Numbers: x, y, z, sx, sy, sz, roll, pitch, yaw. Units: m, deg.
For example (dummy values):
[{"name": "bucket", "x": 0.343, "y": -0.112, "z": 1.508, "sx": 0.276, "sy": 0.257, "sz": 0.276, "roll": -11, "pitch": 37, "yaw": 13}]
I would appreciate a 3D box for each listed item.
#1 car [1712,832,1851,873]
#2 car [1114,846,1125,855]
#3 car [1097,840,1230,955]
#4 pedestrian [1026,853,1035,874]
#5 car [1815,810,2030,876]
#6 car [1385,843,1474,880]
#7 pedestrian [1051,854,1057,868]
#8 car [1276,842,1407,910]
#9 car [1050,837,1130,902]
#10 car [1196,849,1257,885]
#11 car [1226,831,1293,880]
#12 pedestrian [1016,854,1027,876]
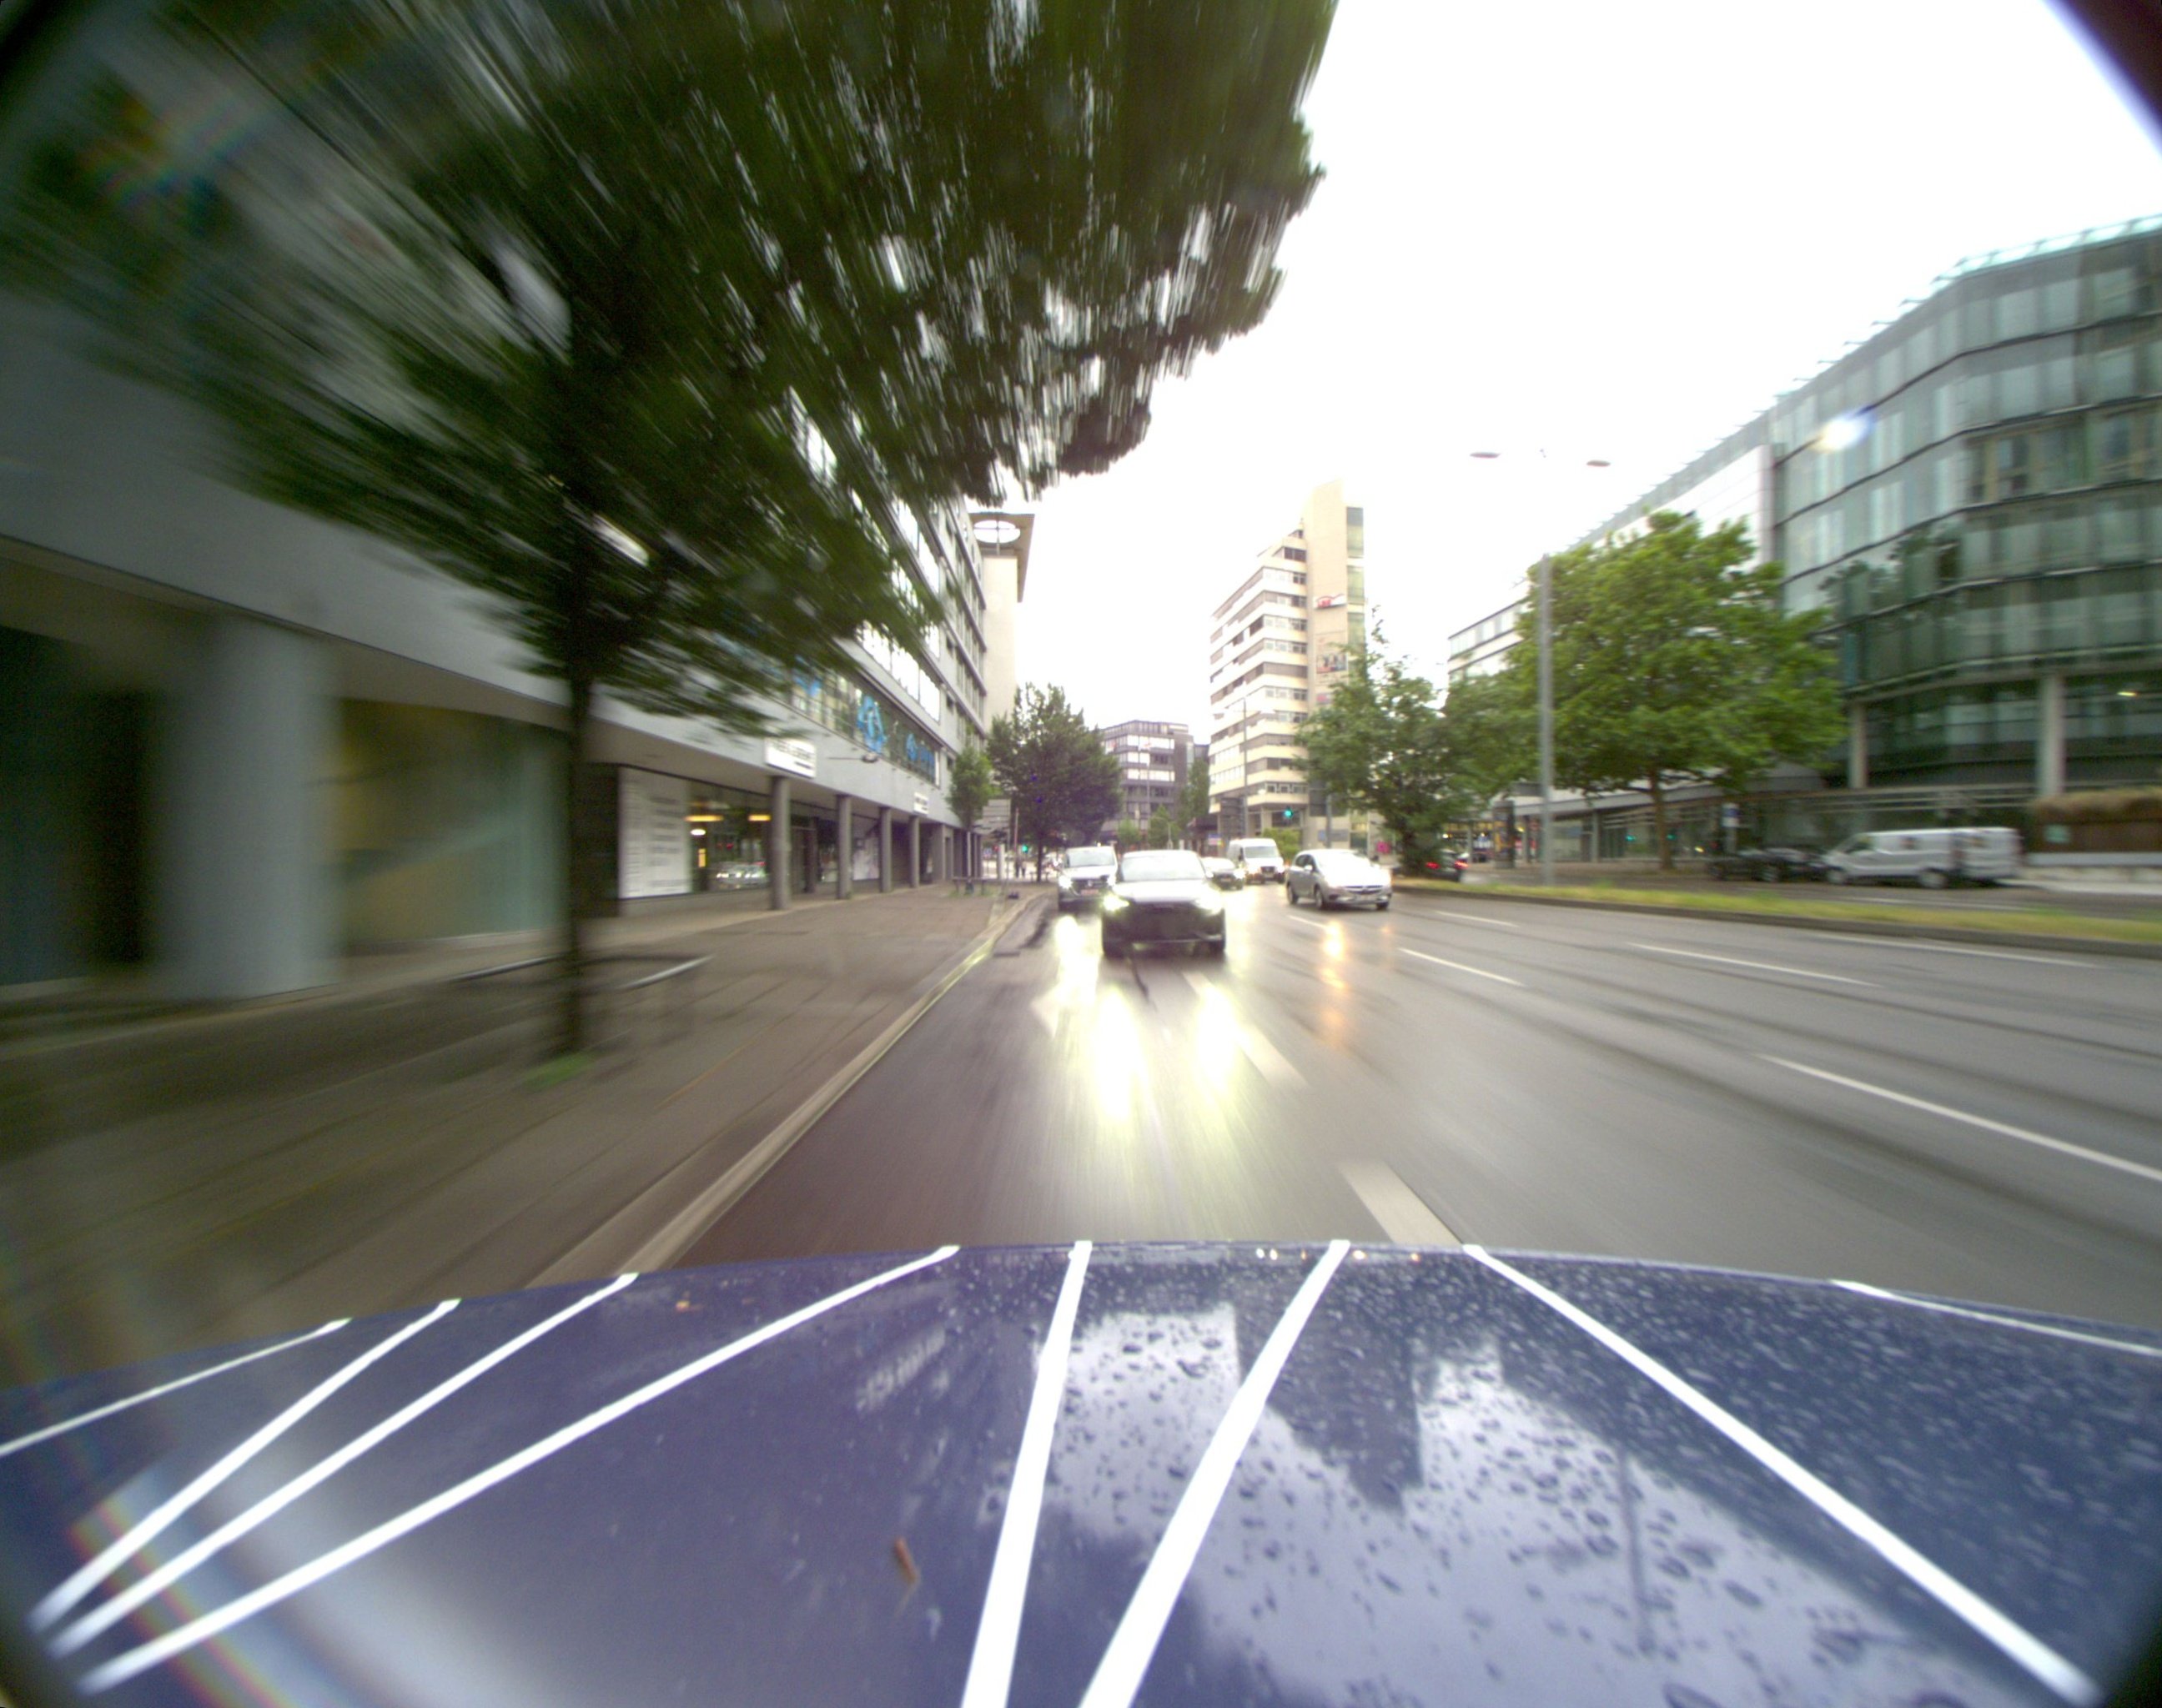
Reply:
[{"name": "car", "x": 28.668, "y": -0.112, "z": 31.320, "sx": 1.802, "sy": 1.520, "sz": 4.285, "roll": -2, "pitch": 1, "yaw": 1}, {"name": "car", "x": 7.218, "y": -0.622, "z": 142.065, "sx": 1.998, "sy": 1.576, "sz": 5.169, "roll": -2, "pitch": 1, "yaw": 2}, {"name": "car", "x": 1.497, "y": 0.582, "z": 12.777, "sx": 1.800, "sy": 1.543, "sz": 4.390, "roll": -2, "pitch": 1, "yaw": 9}, {"name": "pedestrian", "x": -4.363, "y": 0.841, "z": 65.656, "sx": 0.641, "sy": 1.772, "sz": 0.880, "roll": -2, "pitch": 0, "yaw": 1}, {"name": "car", "x": 28.661, "y": -0.387, "z": 26.185, "sx": 1.998, "sy": 2.002, "sz": 4.915, "roll": -2, "pitch": 1, "yaw": 1}, {"name": "car", "x": 16.969, "y": 0.315, "z": 37.269, "sx": 1.830, "sy": 1.623, "sz": 4.872, "roll": -2, "pitch": 1, "yaw": -4}, {"name": "pedestrian", "x": -3.046, "y": 0.798, "z": 85.443, "sx": 0.654, "sy": 1.589, "sz": 1.058, "roll": -2, "pitch": 2, "yaw": -5}, {"name": "car", "x": 6.503, "y": 0.468, "z": 19.482, "sx": 1.774, "sy": 1.470, "sz": 4.125, "roll": -2, "pitch": 1, "yaw": -2}, {"name": "car", "x": 0.175, "y": 0.410, "z": 25.181, "sx": 2.060, "sy": 1.881, "sz": 5.045, "roll": -2, "pitch": 1, "yaw": -5}, {"name": "car", "x": 6.459, "y": 0.529, "z": 34.256, "sx": 1.904, "sy": 1.393, "sz": 4.240, "roll": -2, "pitch": 1, "yaw": 0}, {"name": "car", "x": 9.560, "y": 0.010, "z": 41.236, "sx": 2.259, "sy": 2.372, "sz": 5.718, "roll": -2, "pitch": 1, "yaw": 1}, {"name": "pedestrian", "x": -5.023, "y": 0.934, "z": 63.944, "sx": 0.793, "sy": 1.772, "sz": 0.894, "roll": -2, "pitch": 0, "yaw": -2}]
